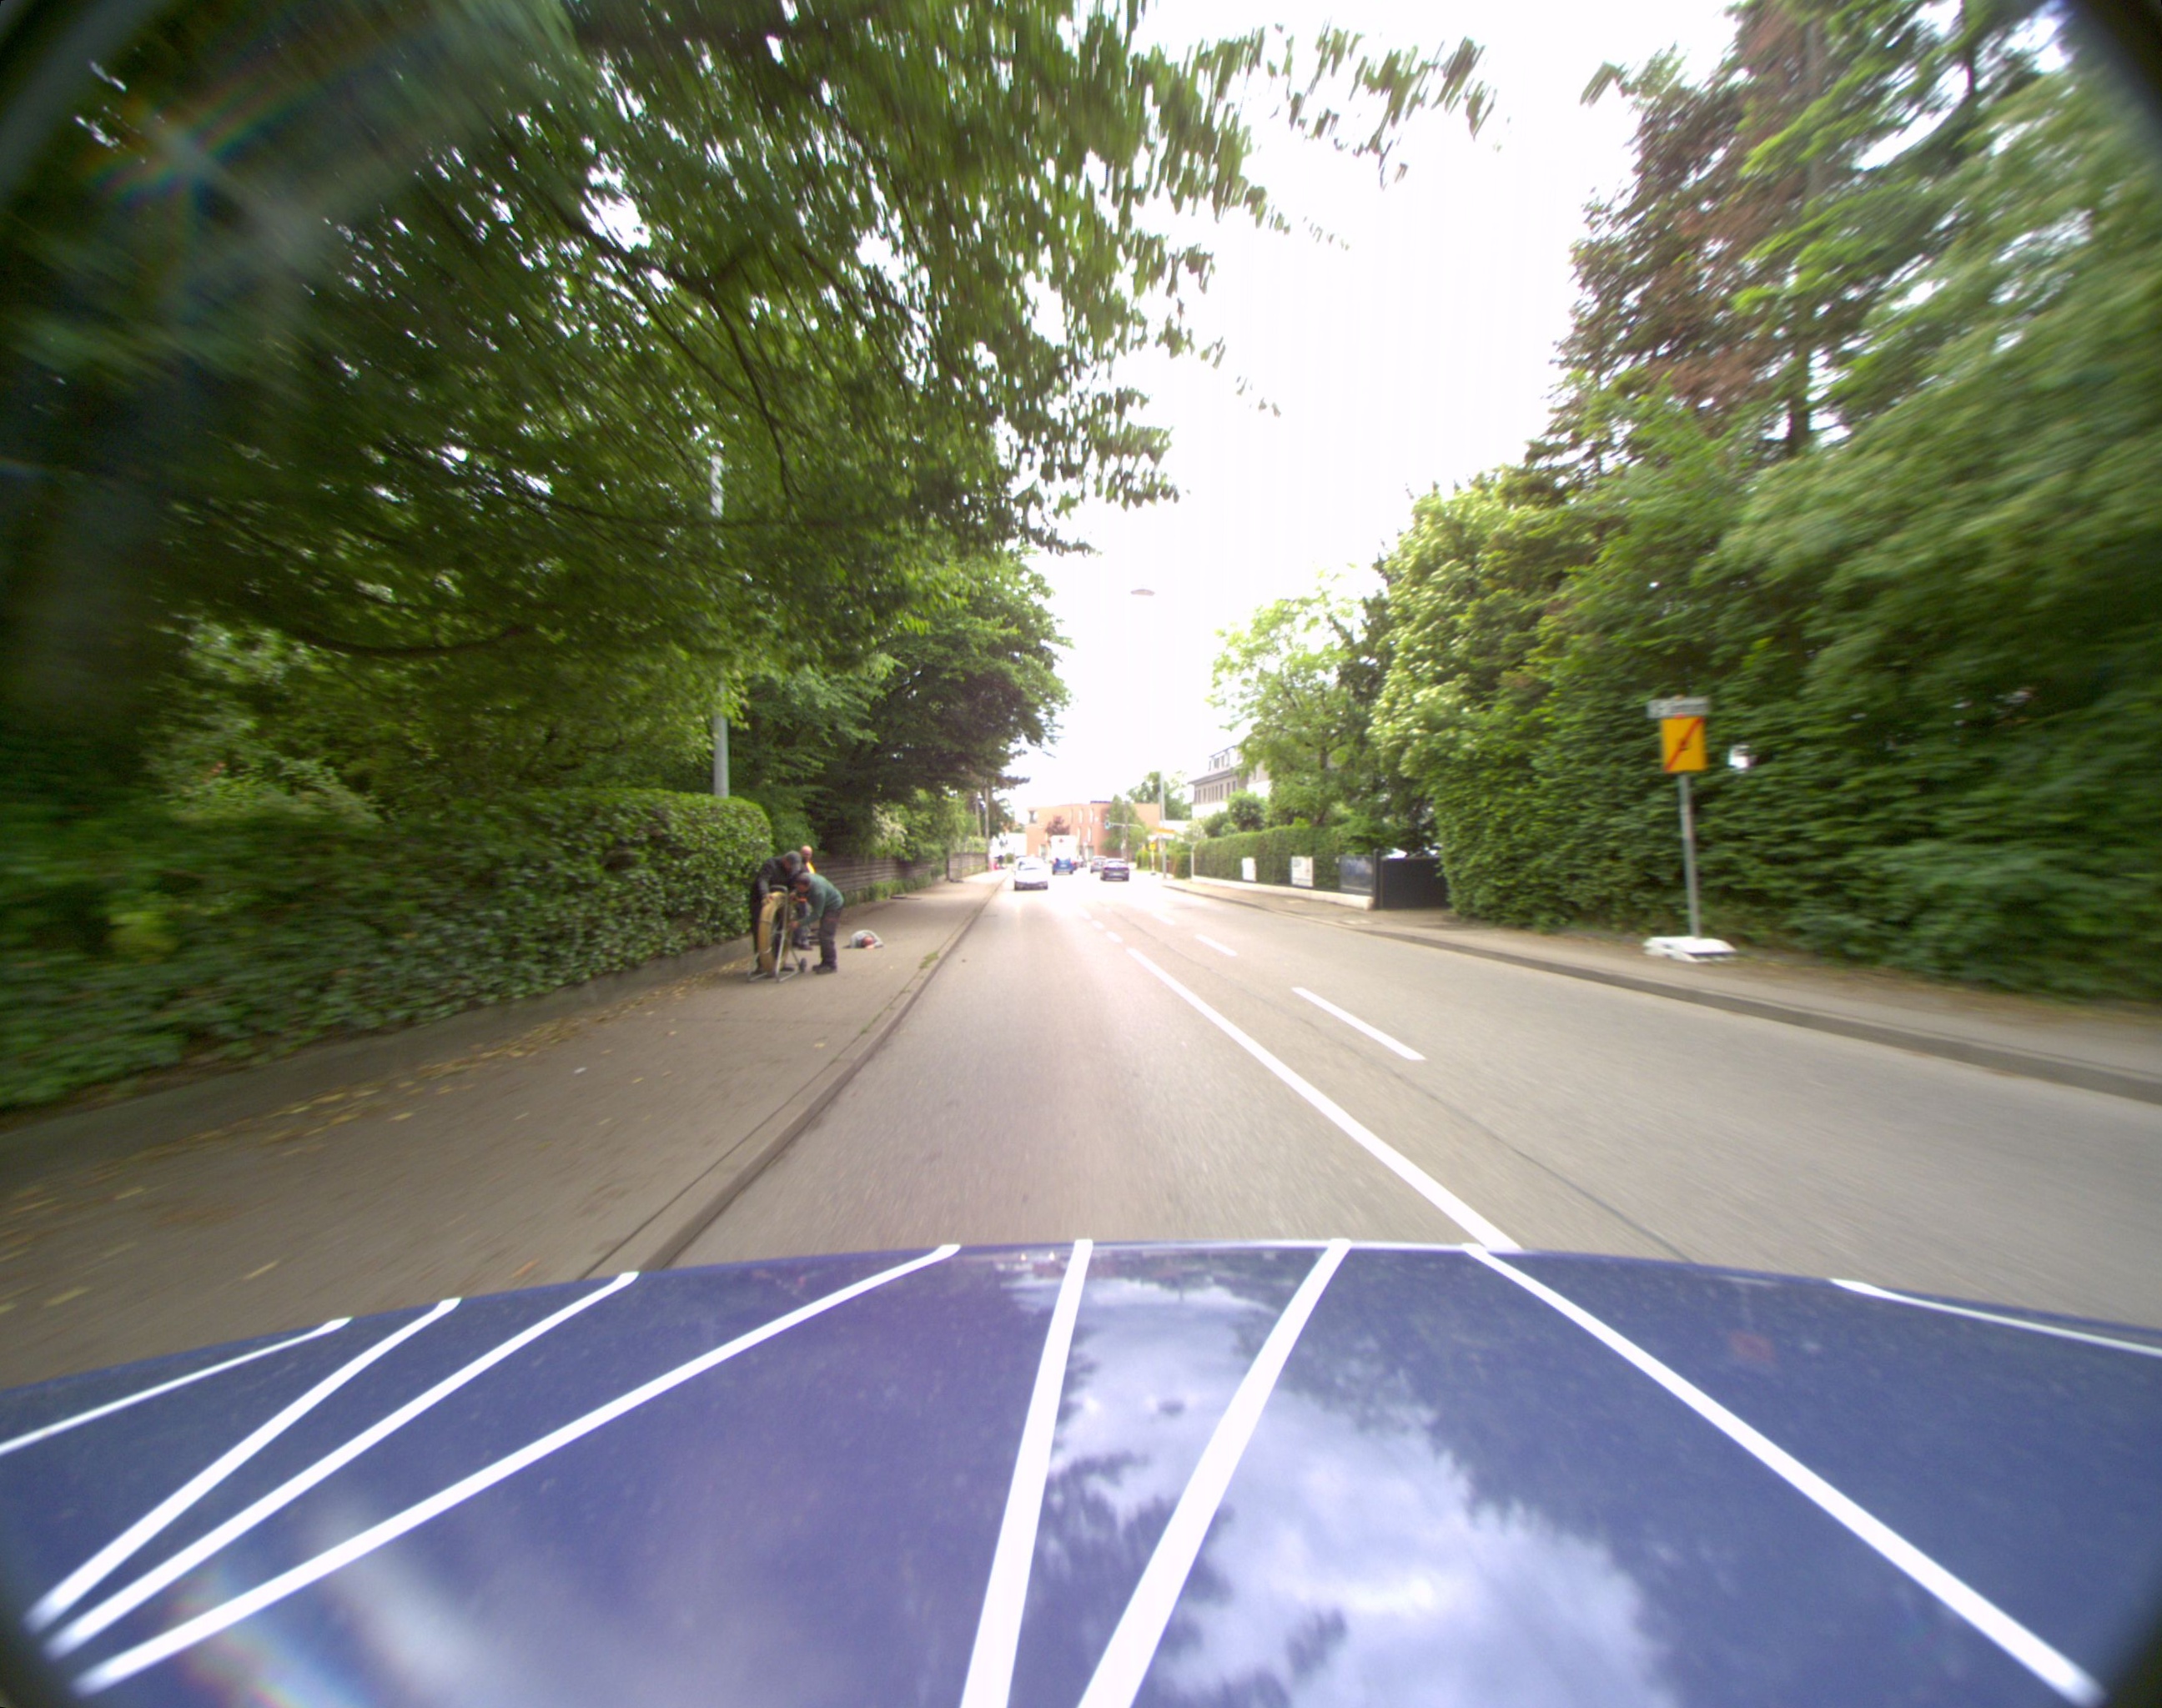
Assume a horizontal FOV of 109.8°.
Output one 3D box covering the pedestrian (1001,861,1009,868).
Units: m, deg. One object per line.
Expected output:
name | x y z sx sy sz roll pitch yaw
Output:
pedestrian | -8.403 1.139 83.695 0.648 0.692 0.583 -1 1 -45

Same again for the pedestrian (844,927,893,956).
pedestrian | -3.621 1.484 12.978 0.674 0.391 0.740 -1 0 -5

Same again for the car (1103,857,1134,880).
car | 2.394 0.918 49.716 1.685 1.463 4.016 -1 0 -2

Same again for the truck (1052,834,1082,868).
truck | -1.527 -0.415 80.466 2.785 3.441 7.489 0 1 -4

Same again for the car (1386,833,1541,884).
car | 12.232 0.107 24.506 3.998 1.543 1.999 0 1 -3

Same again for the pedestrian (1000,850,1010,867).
pedestrian | -8.481 0.520 84.727 0.849 1.912 0.799 -1 1 -24

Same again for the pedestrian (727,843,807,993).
pedestrian | -3.943 0.764 9.541 0.692 1.796 0.671 -1 1 -45

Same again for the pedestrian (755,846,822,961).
pedestrian | -4.699 0.771 12.244 0.809 1.796 0.740 -1 1 -5

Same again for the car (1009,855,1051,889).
car | -2.623 0.894 39.309 1.999 1.586 3.998 -1 0 -4

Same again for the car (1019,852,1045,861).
car | -9.006 0.462 139.327 4.443 1.549 1.996 0 0 -28

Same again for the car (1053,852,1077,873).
car | -1.350 0.694 63.653 1.811 1.707 4.377 -1 0 -3

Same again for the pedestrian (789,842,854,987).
pedestrian | -3.349 0.747 9.794 0.600 1.796 0.520 0 1 36

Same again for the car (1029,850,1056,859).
car | -6.845 0.110 135.868 4.443 1.549 1.996 0 0 -28
